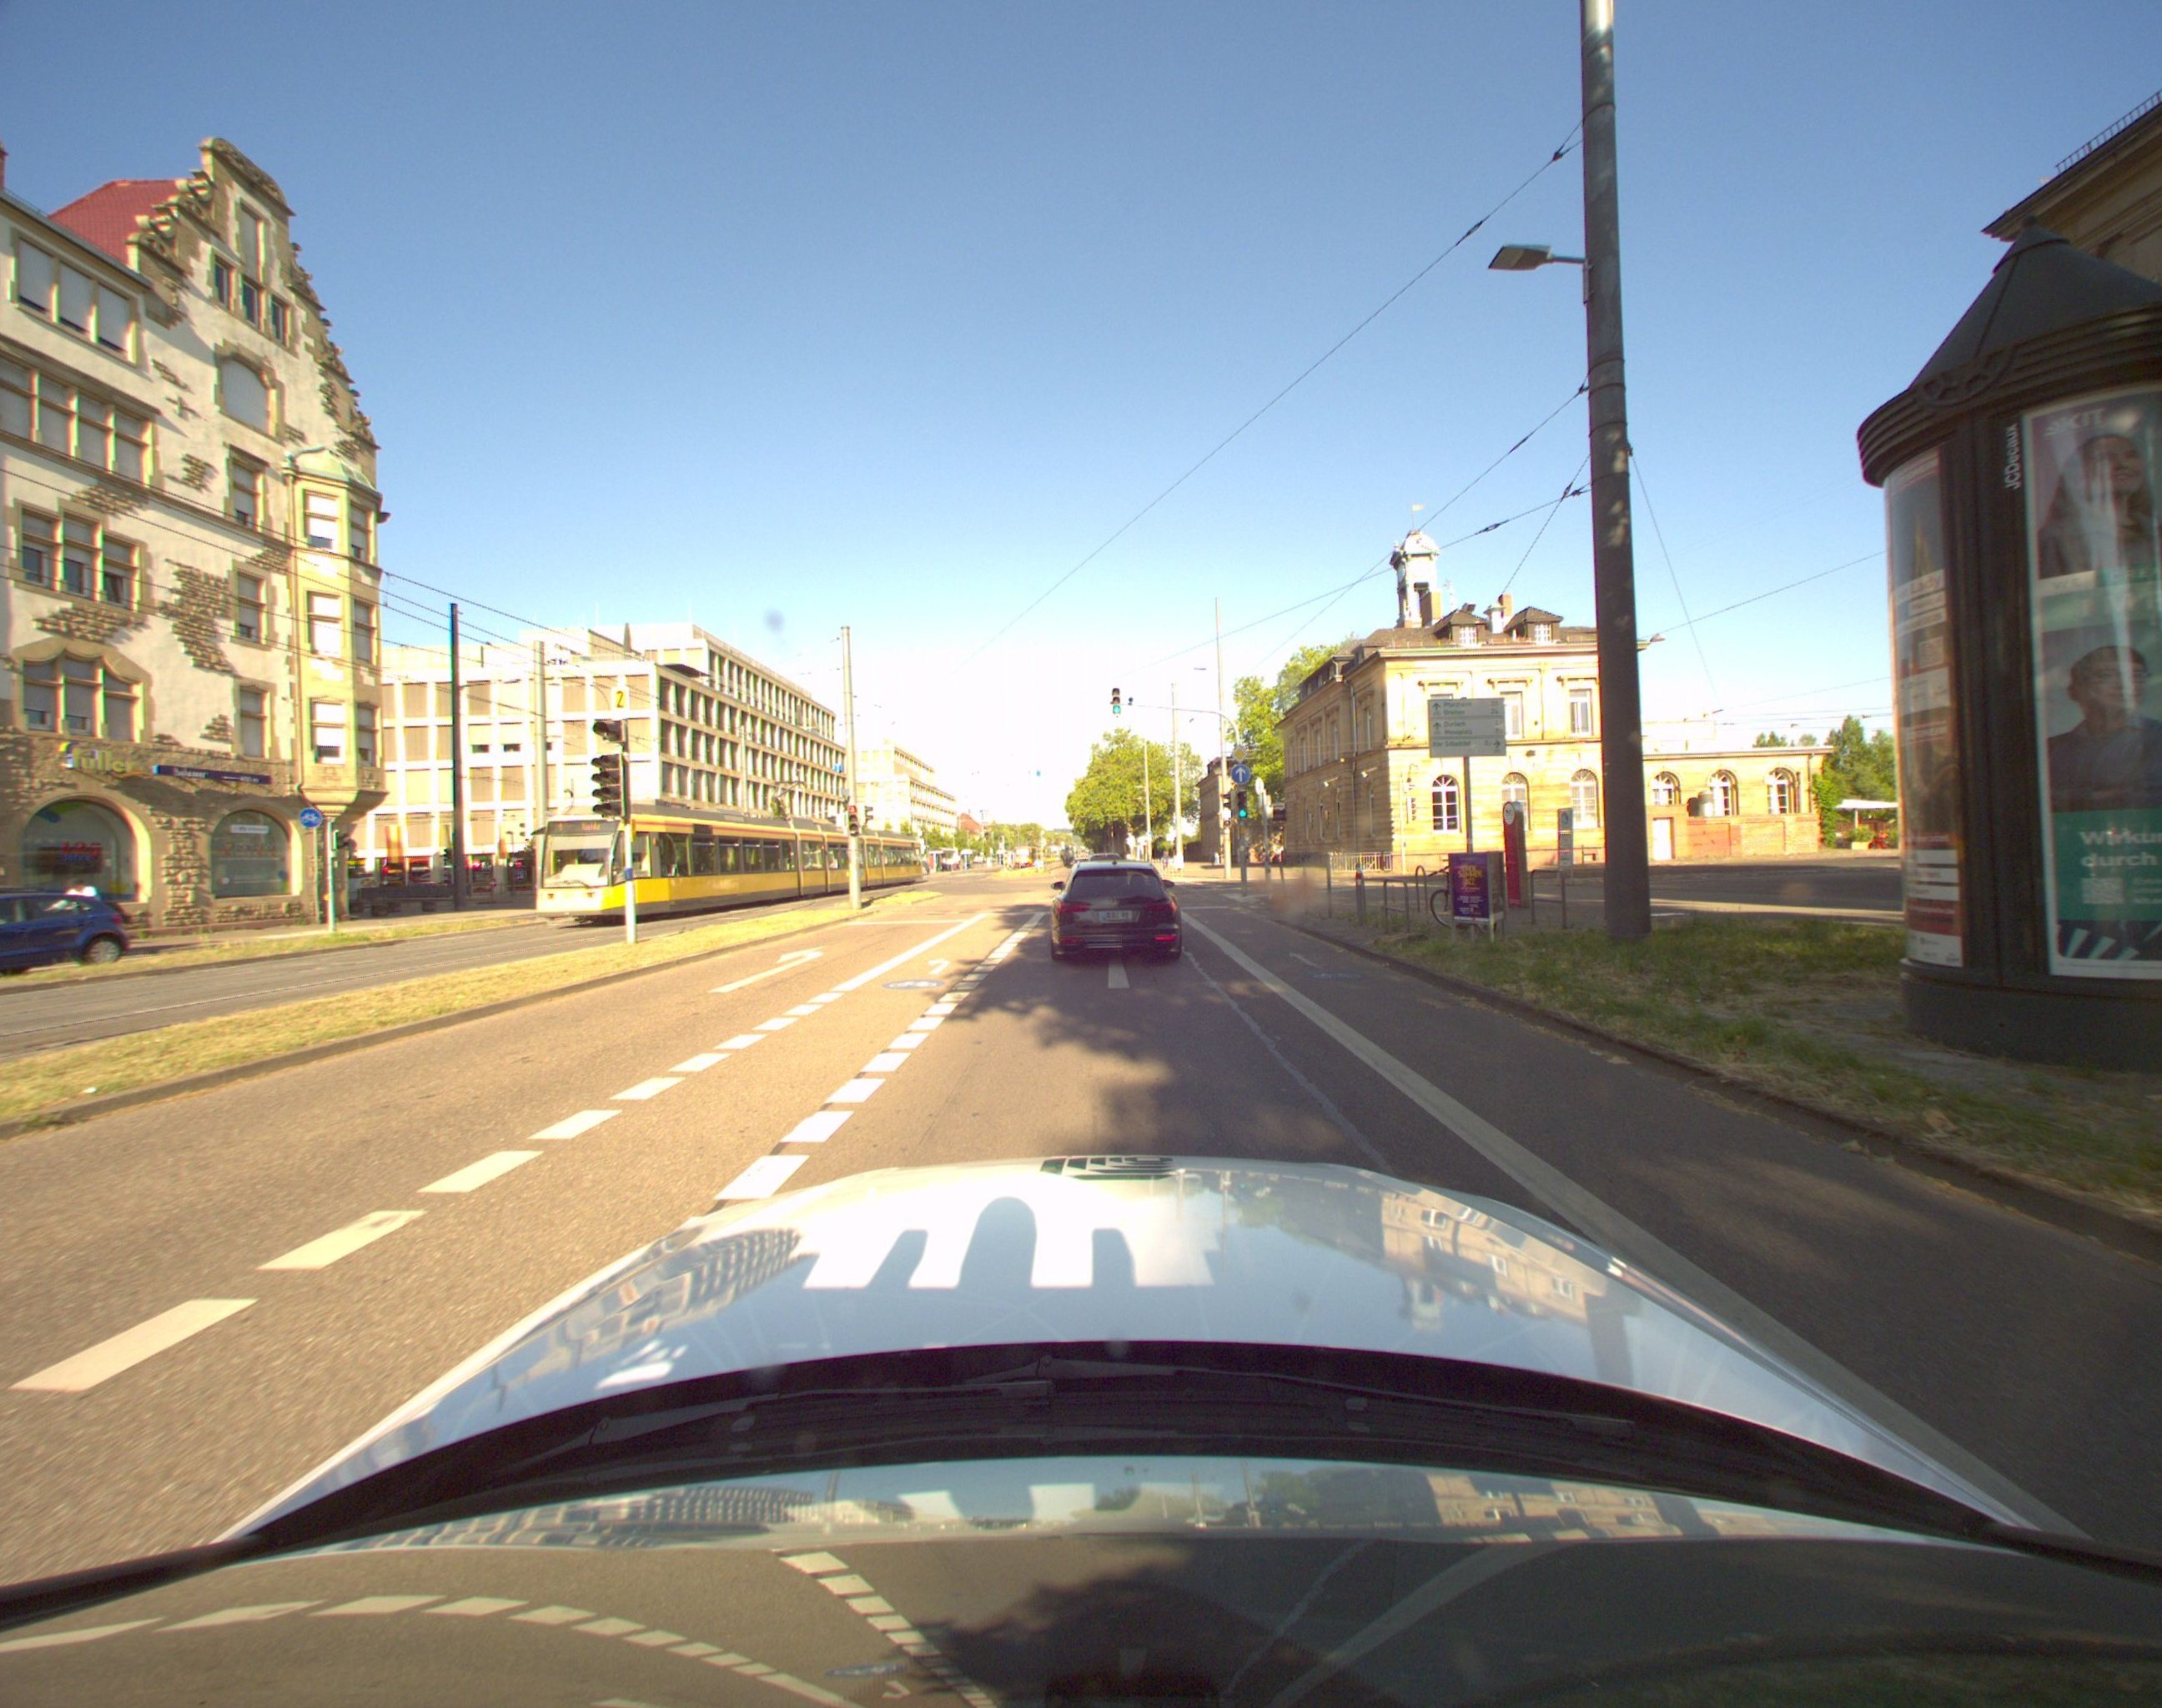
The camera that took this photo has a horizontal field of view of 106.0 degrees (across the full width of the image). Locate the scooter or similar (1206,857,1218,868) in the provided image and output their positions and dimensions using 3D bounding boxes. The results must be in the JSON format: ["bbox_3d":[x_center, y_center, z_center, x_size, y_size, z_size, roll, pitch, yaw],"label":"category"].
[{"bbox_3d":[12.021,0.768,74.754,0.936,0.966,0.361,-3,-1,-2],"label":"scooter or similar"}]

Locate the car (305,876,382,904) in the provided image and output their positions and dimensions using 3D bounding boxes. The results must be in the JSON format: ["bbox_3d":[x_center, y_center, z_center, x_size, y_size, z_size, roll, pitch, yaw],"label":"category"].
[{"bbox_3d":[-57.172,2.752,63.163,4.049,1.913,1.912,-2,0,-3],"label":"car"}]

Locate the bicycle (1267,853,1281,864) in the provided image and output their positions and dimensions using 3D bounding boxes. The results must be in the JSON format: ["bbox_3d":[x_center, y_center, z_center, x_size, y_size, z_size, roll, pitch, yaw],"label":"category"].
[{"bbox_3d":[19.025,0.469,80.355,0.525,1.047,2.353,-2,0,-7],"label":"bicycle"}]

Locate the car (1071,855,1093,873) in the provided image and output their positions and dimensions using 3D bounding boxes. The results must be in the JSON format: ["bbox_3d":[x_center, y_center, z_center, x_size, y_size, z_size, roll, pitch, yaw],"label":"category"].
[{"bbox_3d":[0.153,0.896,74.109,1.896,1.486,4.145,-1,0,1],"label":"car"}]

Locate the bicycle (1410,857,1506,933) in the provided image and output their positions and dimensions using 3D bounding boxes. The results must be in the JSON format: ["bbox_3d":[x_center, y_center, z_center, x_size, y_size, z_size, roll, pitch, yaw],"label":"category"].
[{"bbox_3d":[5.758,0.592,12.539,0.539,1.061,1.769,-2,0,-3],"label":"bicycle"}]

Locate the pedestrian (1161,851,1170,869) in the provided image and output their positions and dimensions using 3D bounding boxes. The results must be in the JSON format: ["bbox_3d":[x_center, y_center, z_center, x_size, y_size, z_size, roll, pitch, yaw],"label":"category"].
[{"bbox_3d":[7.710,0.563,74.392,0.680,1.660,0.758,-2,0,-1],"label":"pedestrian"}]

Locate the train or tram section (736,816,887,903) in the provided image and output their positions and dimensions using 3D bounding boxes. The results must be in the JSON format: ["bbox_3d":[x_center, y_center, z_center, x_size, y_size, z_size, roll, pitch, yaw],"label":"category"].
[{"bbox_3d":[-12.706,0.233,40.215,2.803,3.489,13.204,-2,0,1],"label":"train or tram section"}]

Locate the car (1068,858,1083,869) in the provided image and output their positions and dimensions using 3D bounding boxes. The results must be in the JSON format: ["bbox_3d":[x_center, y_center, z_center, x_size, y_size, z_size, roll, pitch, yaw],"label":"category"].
[{"bbox_3d":[-0.662,1.249,109.752,1.896,1.486,4.145,-1,0,1],"label":"car"}]

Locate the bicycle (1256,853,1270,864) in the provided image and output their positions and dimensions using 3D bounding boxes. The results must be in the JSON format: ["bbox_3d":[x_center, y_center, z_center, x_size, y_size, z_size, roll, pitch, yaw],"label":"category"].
[{"bbox_3d":[17.964,0.484,80.376,0.525,1.047,2.353,-2,0,-7],"label":"bicycle"}]

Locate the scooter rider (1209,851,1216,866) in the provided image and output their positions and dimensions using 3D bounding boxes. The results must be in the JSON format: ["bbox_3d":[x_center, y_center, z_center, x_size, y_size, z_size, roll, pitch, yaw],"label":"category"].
[{"bbox_3d":[12.065,0.436,74.772,0.483,1.385,0.377,-3,-1,-2],"label":"scooter rider"}]

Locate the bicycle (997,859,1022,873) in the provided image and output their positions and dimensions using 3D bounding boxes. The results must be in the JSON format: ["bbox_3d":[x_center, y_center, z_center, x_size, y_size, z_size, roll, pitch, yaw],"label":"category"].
[{"bbox_3d":[-6.331,1.046,71.916,2.013,1.108,0.759,-2,0,-22],"label":"bicycle"}]

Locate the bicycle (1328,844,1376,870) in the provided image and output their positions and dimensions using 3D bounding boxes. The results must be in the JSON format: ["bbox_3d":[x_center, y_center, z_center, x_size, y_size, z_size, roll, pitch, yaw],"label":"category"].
[{"bbox_3d":[13.860,0.160,41.681,2.131,1.209,0.765,-3,0,-2],"label":"bicycle"}]

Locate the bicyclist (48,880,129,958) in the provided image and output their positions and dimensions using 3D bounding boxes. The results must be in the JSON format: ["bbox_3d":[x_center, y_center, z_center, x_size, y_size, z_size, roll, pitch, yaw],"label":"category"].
[{"bbox_3d":[-20.928,1.352,17.182,0.682,1.563,0.785,-3,-1,2],"label":"bicyclist"}]

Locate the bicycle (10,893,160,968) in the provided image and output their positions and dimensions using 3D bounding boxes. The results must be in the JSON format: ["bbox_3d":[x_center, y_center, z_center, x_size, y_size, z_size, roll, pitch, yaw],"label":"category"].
[{"bbox_3d":[-20.927,1.570,17.184,0.682,1.382,1.947,-3,0,2],"label":"bicycle"}]

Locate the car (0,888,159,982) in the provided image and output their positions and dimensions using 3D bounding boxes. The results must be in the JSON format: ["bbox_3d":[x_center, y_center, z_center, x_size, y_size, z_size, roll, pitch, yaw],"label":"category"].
[{"bbox_3d":[-18.538,1.398,13.512,1.816,1.457,4.151,-3,0,-3],"label":"car"}]

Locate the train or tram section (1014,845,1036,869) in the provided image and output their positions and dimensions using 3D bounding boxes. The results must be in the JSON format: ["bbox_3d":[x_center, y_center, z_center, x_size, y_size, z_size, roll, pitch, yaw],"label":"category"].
[{"bbox_3d":[-8.485,0.470,124.666,2.601,3.451,11.126,-2,0,-1],"label":"train or tram section"}]

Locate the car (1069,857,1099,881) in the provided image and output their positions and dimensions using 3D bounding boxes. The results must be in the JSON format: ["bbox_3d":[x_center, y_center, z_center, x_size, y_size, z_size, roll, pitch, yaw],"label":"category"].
[{"bbox_3d":[0.204,0.959,54.016,1.896,1.486,4.145,-1,0,1],"label":"car"}]

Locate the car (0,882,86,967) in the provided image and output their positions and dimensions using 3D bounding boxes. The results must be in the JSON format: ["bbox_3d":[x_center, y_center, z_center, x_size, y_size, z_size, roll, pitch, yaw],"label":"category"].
[{"bbox_3d":[-22.738,1.458,15.796,1.712,1.675,4.215,0,0,-1],"label":"car"}]

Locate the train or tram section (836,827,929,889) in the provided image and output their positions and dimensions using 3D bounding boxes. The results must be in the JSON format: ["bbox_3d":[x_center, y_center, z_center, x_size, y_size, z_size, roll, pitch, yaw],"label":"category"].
[{"bbox_3d":[-12.531,0.245,52.933,2.803,3.489,12.154,-2,0,1],"label":"train or tram section"}]

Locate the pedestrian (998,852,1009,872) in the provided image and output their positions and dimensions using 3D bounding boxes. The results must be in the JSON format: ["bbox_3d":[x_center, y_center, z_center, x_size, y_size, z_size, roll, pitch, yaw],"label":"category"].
[{"bbox_3d":[-6.957,0.712,73.395,0.743,1.741,0.658,-2,0,-24],"label":"pedestrian"}]

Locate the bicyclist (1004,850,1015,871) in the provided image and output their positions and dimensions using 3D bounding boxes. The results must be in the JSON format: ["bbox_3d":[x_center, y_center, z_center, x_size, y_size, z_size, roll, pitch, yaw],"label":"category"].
[{"bbox_3d":[-6.340,0.542,71.962,0.759,1.818,0.759,-2,0,-22],"label":"bicyclist"}]

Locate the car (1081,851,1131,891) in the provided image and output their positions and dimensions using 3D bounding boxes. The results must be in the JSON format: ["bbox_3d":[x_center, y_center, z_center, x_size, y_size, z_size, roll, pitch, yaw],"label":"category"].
[{"bbox_3d":[0.998,0.651,33.425,1.896,1.486,4.145,-1,0,1],"label":"car"}]

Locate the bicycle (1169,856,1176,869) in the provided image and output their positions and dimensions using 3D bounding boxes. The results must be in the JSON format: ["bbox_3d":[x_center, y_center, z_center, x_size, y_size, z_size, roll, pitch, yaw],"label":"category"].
[{"bbox_3d":[8.340,0.770,74.415,0.433,1.145,1.339,-2,0,-1],"label":"bicycle"}]

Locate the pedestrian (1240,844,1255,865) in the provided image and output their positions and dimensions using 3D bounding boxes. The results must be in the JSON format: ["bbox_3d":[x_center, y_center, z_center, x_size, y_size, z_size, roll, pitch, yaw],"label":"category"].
[{"bbox_3d":[14.605,0.043,71.493,0.977,1.865,0.825,-2,0,-4],"label":"pedestrian"}]

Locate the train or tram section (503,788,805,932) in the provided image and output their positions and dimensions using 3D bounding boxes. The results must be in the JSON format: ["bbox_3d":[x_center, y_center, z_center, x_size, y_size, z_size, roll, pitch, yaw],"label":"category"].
[{"bbox_3d":[-12.924,0.172,26.992,2.803,3.489,13.204,-2,0,1],"label":"train or tram section"}]

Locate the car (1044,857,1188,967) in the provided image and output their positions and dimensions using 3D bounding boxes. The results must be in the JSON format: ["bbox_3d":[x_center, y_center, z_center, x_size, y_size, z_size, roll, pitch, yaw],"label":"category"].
[{"bbox_3d":[0.501,0.775,12.880,1.896,1.421,4.145,-1,0,1],"label":"car"}]
